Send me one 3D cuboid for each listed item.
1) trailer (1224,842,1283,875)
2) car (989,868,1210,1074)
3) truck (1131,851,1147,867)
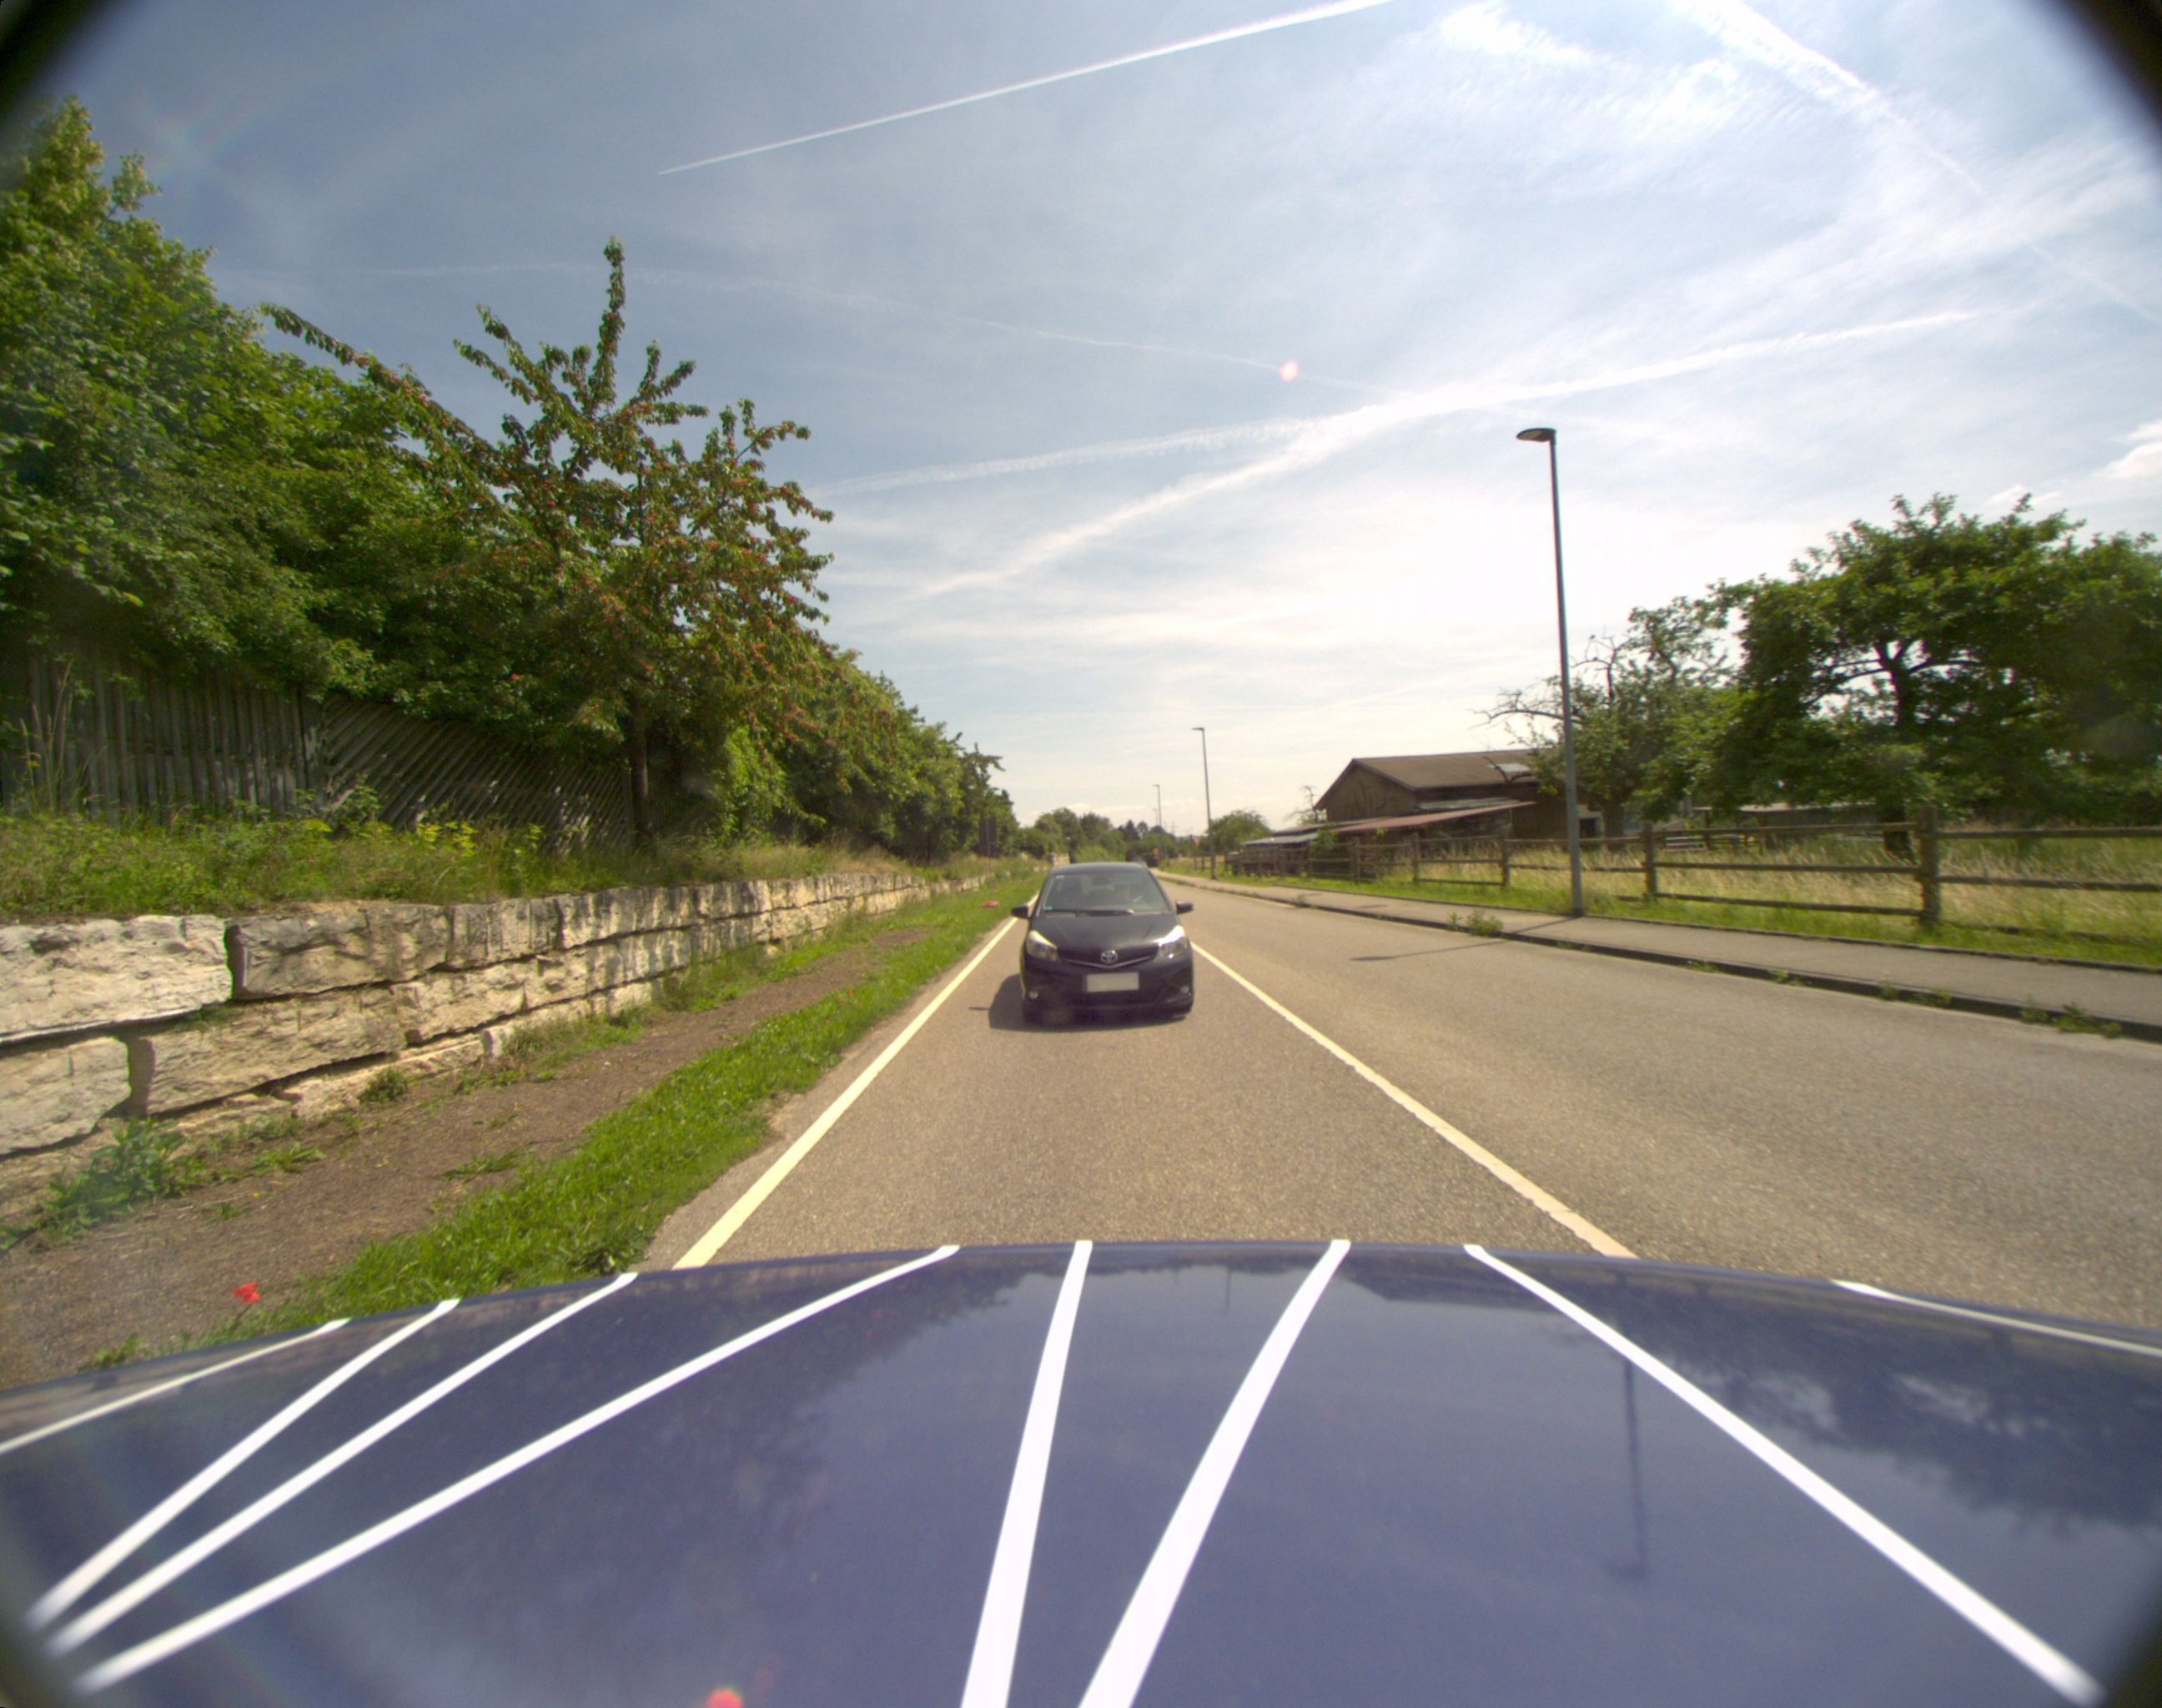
[{"bbox_3d":[9.631,0.254,42.825,2.160,1.693,5.029,-2,0,0],"label":"trailer"},{"bbox_3d":[0.161,0.950,8.094,1.677,1.456,4.432,-2,0,0],"label":"car"},{"bbox_3d":[8.958,0.708,116.669,2.227,2.280,6.494,-2,0,6],"label":"truck"}]
